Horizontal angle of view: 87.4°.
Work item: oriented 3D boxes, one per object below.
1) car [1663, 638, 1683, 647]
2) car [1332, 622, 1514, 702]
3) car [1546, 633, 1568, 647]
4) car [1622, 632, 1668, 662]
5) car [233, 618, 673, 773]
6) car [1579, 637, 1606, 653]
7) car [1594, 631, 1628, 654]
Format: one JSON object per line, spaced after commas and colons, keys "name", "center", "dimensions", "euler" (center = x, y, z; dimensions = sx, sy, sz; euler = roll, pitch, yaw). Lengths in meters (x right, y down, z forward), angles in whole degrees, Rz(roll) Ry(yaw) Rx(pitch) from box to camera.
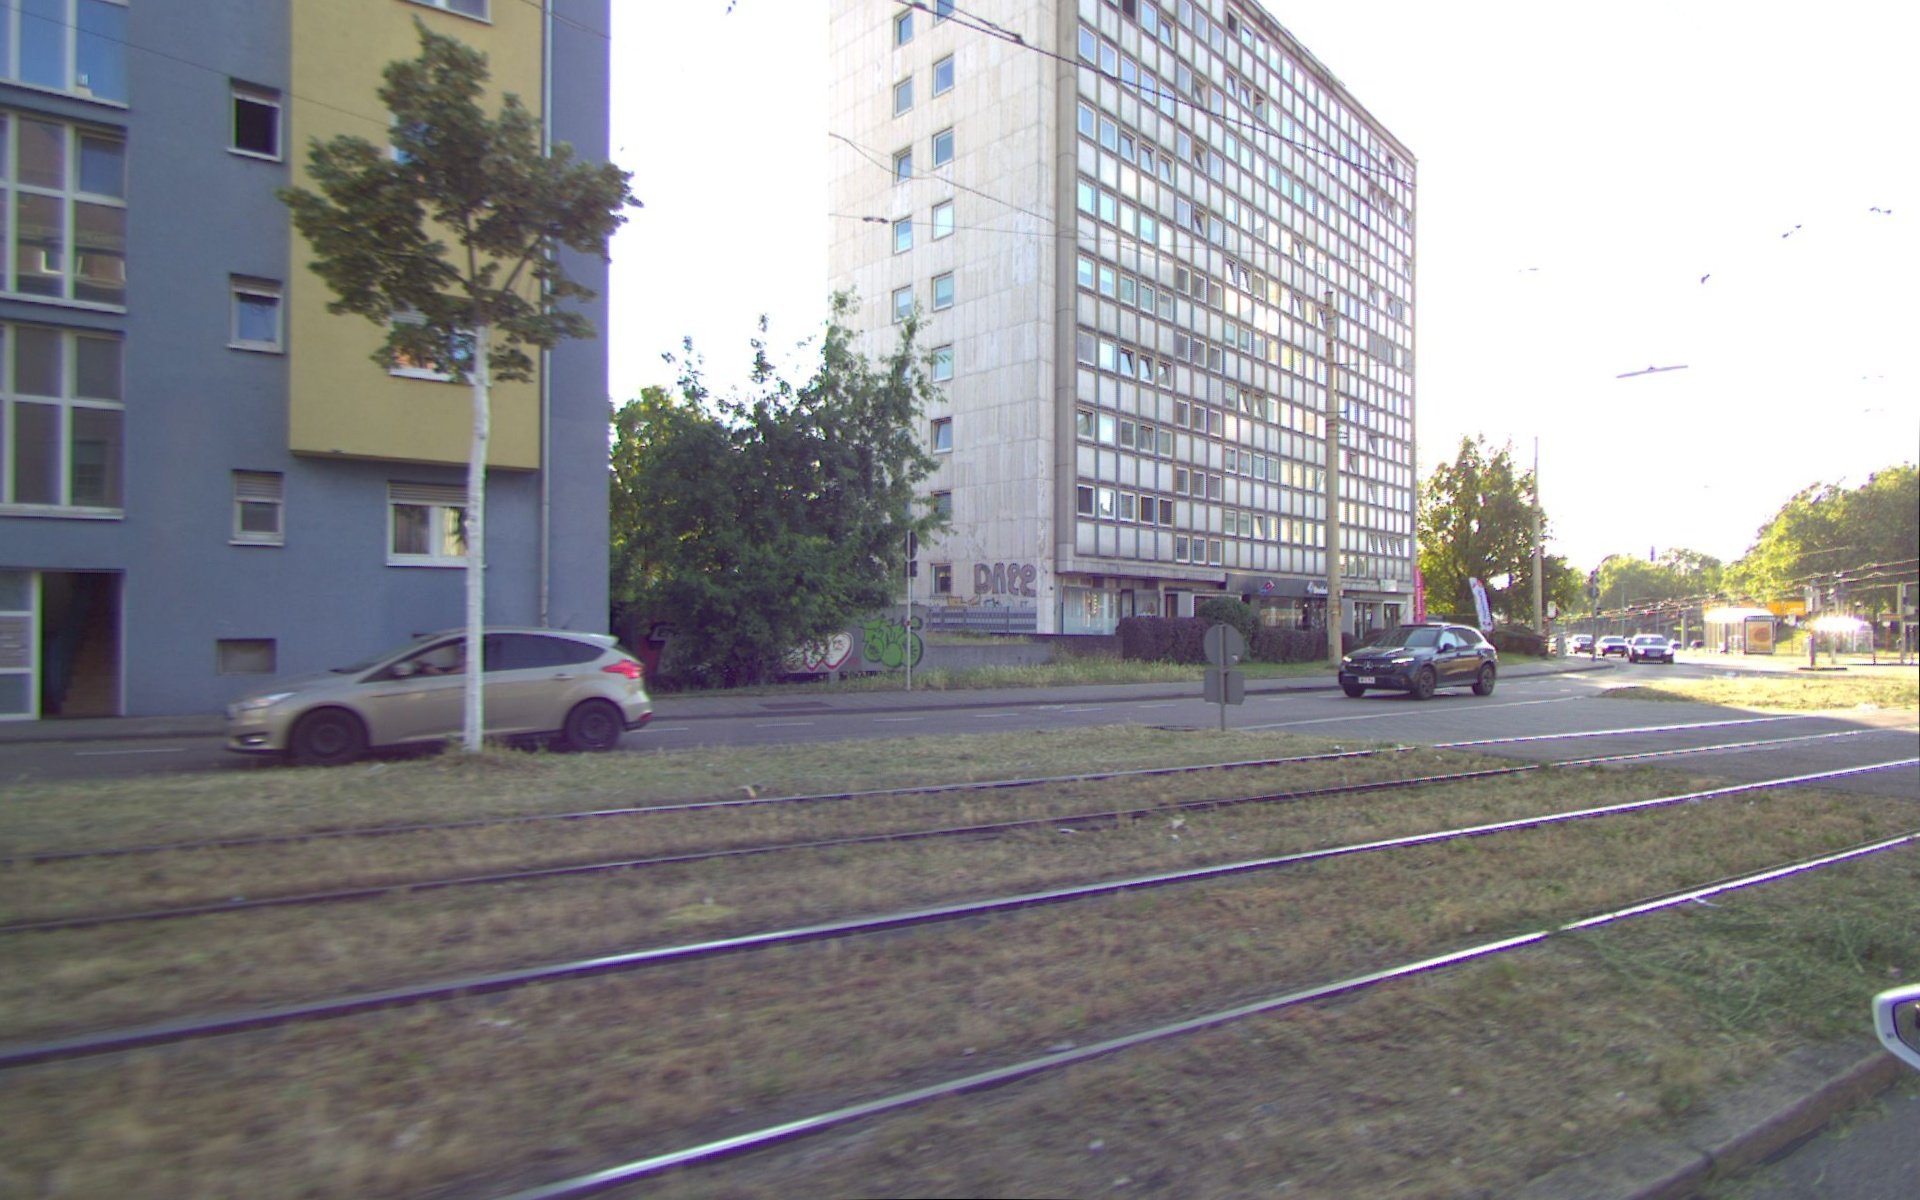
{"name": "car", "center": [124.145, 7.334, 174.959], "dimensions": [2.005, 1.465, 3.998], "euler": [-2, -2, 23]}
{"name": "car", "center": [10.855, 1.363, 23.426], "dimensions": [4.666, 1.684, 1.904], "euler": [1, -2, -38]}
{"name": "car", "center": [62.700, 4.164, 105.507], "dimensions": [1.774, 1.385, 3.961], "euler": [0, -1, 27]}
{"name": "car", "center": [36.434, 2.480, 53.358], "dimensions": [1.754, 1.501, 4.383], "euler": [-3, -4, 37]}
{"name": "car", "center": [-5.688, 1.018, 11.563], "dimensions": [4.274, 1.479, 1.686], "euler": [2, -4, -36]}
{"name": "car", "center": [53.642, 3.805, 85.277], "dimensions": [1.521, 1.357, 3.590], "euler": [0, -2, 26]}
{"name": "car", "center": [47.644, 3.073, 73.540], "dimensions": [1.626, 1.617, 4.580], "euler": [0, -2, 27]}
